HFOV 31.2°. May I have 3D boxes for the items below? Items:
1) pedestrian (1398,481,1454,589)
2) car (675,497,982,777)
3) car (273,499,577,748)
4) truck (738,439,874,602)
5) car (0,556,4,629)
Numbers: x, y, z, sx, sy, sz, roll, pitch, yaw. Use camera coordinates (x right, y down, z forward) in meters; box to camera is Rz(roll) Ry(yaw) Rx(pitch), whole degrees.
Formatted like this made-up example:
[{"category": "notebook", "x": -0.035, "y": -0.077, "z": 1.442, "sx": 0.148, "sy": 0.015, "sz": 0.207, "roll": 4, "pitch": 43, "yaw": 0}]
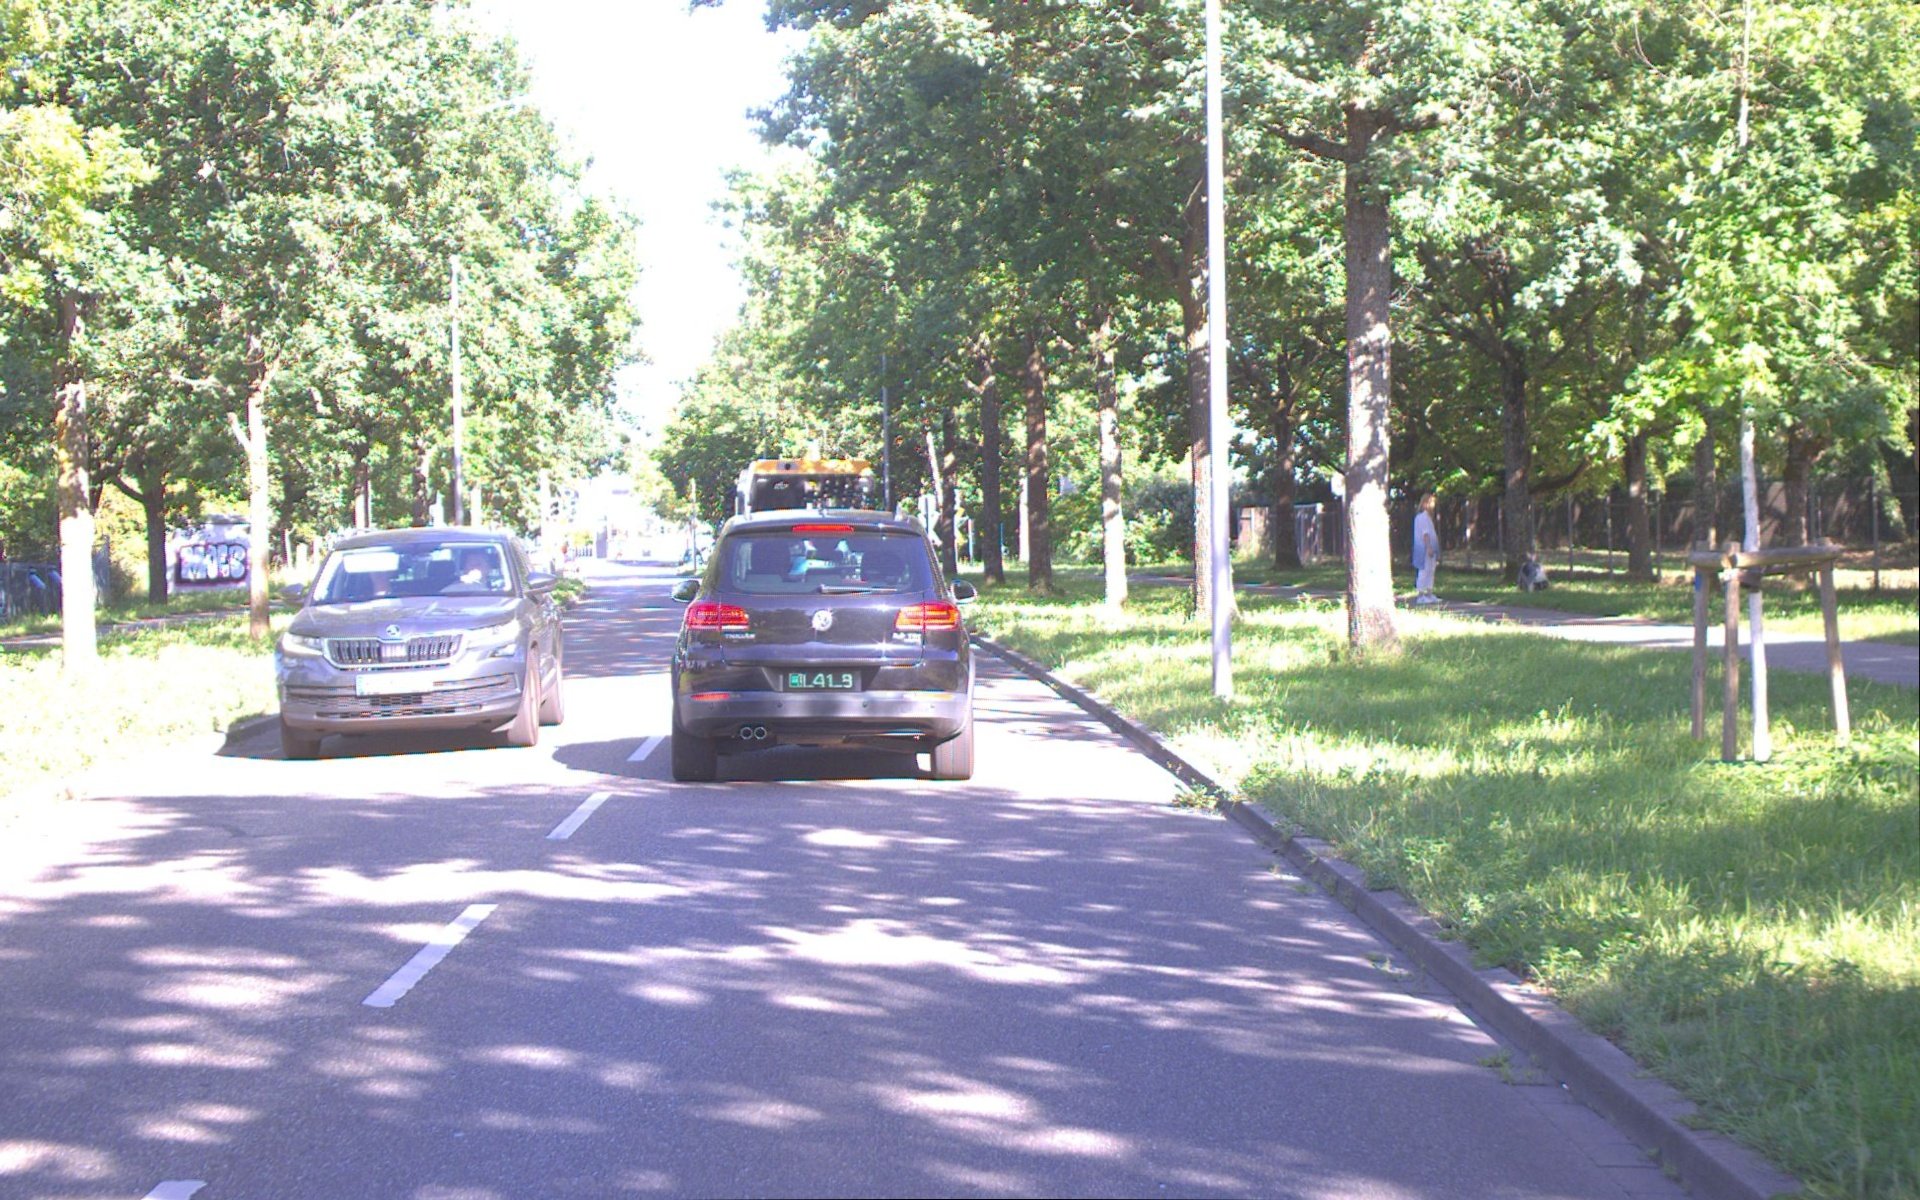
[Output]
[{"category": "pedestrian", "x": 7.234, "y": -1.009, "z": 53.361, "sx": 0.717, "sy": 1.625, "sz": 0.609, "roll": -3, "pitch": 2, "yaw": 15}, {"category": "car", "x": -0.928, "y": 0.188, "z": 22.066, "sx": 1.782, "sy": 1.628, "sz": 4.001, "roll": 0, "pitch": 1, "yaw": -5}, {"category": "car", "x": -3.980, "y": 0.131, "z": 26.172, "sx": 1.767, "sy": 1.666, "sz": 4.200, "roll": -3, "pitch": 1, "yaw": -3}, {"category": "truck", "x": -3.353, "y": -1.685, "z": 73.238, "sx": 2.511, "sy": 3.232, "sz": 8.154, "roll": -1, "pitch": 1, "yaw": -5}, {"category": "car", "x": -25.625, "y": -0.185, "z": 84.402, "sx": 3.986, "sy": 1.795, "sz": 2.001, "roll": 0, "pitch": 1, "yaw": -10}]
